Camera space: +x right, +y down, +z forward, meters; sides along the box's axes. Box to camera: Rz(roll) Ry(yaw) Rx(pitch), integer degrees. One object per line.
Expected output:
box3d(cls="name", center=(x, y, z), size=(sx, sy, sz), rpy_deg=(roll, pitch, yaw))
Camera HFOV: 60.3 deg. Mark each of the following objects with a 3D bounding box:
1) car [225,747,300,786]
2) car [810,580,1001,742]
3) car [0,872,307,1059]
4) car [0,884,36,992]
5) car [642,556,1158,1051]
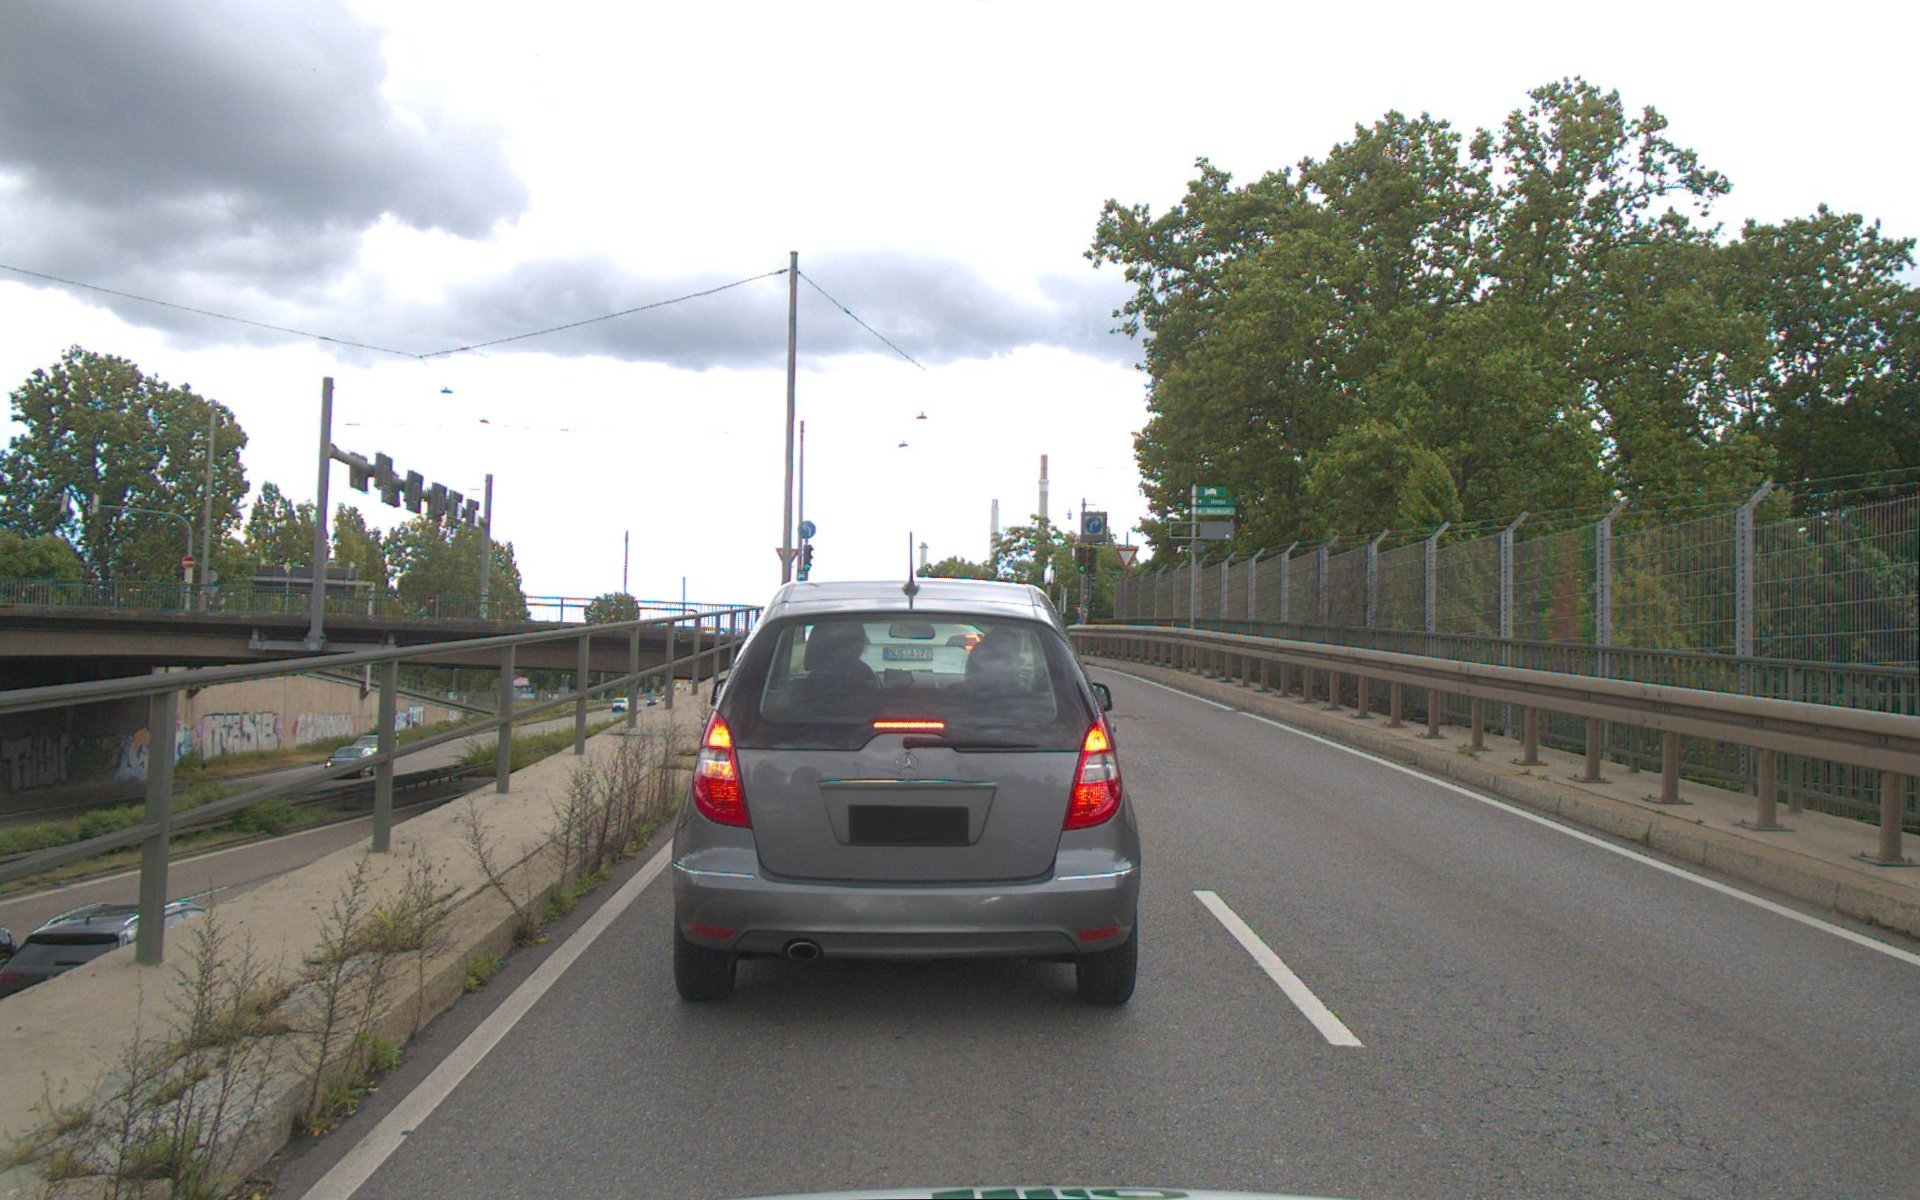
box3d(cls="car", center=(-33.679, 8.042, 79.932), size=(1.953, 1.691, 3.997), rpy_deg=(1, -4, -2))
box3d(cls="car", center=(-0.592, 0.598, 18.938), size=(1.953, 1.631, 3.999), rpy_deg=(0, 1, -1))
box3d(cls="car", center=(-10.199, 4.456, 20.732), size=(1.894, 1.527, 4.306), rpy_deg=(-1, -2, 7))
box3d(cls="car", center=(-13.773, 4.562, 21.372), size=(1.689, 1.350, 3.645), rpy_deg=(0, -3, -3))
box3d(cls="car", center=(-0.013, 0.636, 7.481), size=(1.713, 1.608, 4.088), rpy_deg=(0, 1, 5))
